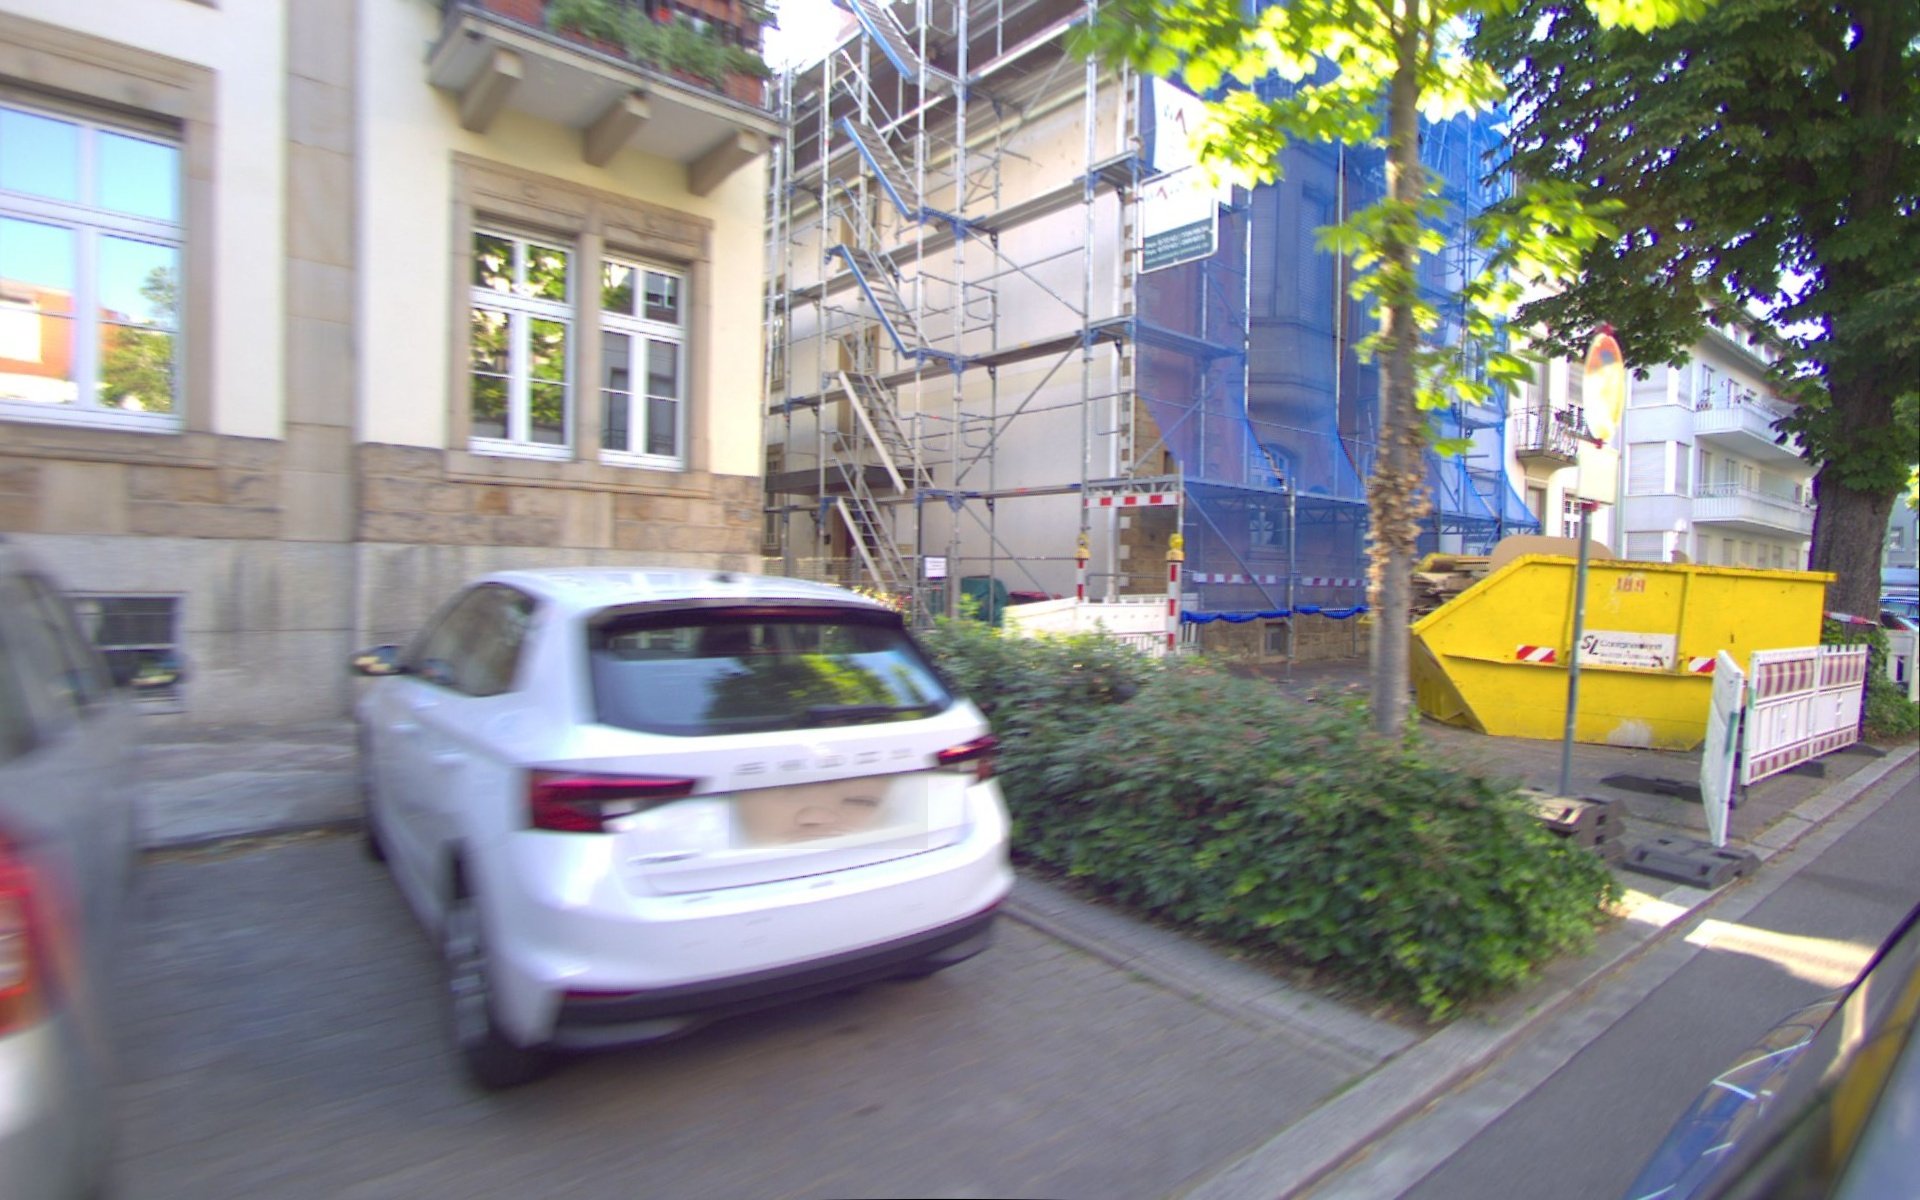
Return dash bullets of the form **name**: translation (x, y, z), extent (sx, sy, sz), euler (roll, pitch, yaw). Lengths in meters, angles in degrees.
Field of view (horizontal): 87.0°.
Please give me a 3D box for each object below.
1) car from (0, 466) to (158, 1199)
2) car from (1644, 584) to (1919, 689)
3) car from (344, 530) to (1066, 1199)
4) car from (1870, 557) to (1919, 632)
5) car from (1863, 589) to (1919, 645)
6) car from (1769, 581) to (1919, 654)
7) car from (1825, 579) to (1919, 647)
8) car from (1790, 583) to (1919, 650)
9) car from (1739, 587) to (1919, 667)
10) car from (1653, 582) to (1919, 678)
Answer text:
- **car**: translation (-3.051, 0.487, 2.470), extent (1.656, 1.553, 4.157), euler (0, 3, -38)
- **car**: translation (15.080, 0.575, 18.378), extent (1.817, 1.510, 3.999), euler (0, 3, -38)
- **car**: translation (-1.474, 0.484, 4.266), extent (1.655, 1.480, 3.866), euler (1, 3, -35)
- **car**: translation (39.320, -0.172, 39.735), extent (2.041, 2.938, 5.103), euler (0, 2, -42)
- **car**: translation (31.702, 0.583, 32.363), extent (4.175, 1.745, 1.739), euler (3, 2, 43)
- **car**: translation (24.301, 0.463, 26.739), extent (1.676, 1.703, 4.338), euler (1, 3, -43)
- **car**: translation (29.710, 0.400, 31.138), extent (1.863, 2.039, 4.477), euler (0, 1, -42)
- **car**: translation (26.270, 0.466, 28.629), extent (1.674, 1.703, 3.962), euler (1, 2, -37)
- **car**: translation (20.734, 0.600, 23.263), extent (1.818, 1.558, 4.165), euler (0, 3, -40)
- **car**: translation (16.905, 0.525, 20.197), extent (1.818, 1.554, 4.730), euler (0, 3, -40)
